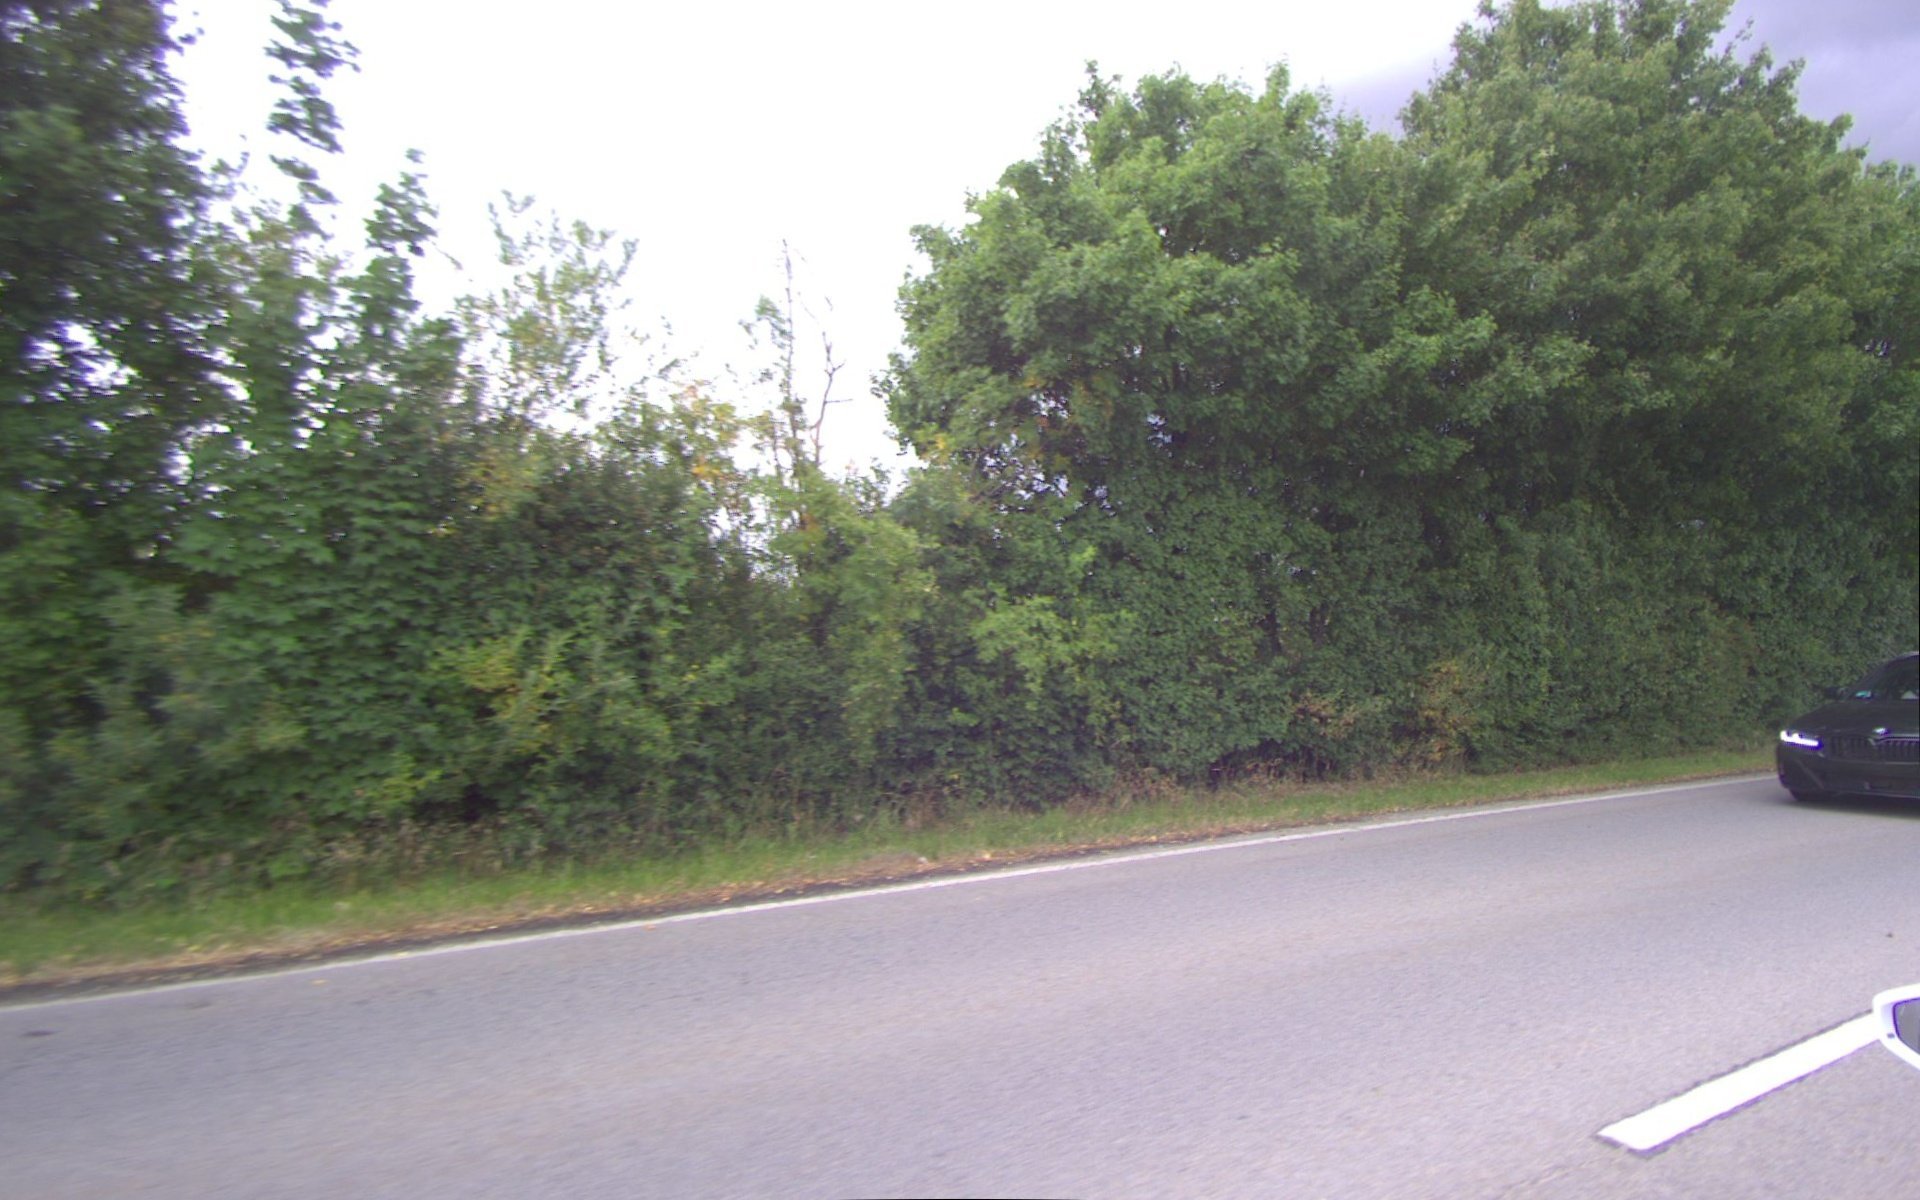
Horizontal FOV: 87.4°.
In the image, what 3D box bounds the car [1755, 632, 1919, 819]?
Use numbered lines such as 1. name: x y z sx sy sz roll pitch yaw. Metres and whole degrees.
1. car: 10.070 1.163 10.025 4.505 1.606 1.930 2 -4 -32
